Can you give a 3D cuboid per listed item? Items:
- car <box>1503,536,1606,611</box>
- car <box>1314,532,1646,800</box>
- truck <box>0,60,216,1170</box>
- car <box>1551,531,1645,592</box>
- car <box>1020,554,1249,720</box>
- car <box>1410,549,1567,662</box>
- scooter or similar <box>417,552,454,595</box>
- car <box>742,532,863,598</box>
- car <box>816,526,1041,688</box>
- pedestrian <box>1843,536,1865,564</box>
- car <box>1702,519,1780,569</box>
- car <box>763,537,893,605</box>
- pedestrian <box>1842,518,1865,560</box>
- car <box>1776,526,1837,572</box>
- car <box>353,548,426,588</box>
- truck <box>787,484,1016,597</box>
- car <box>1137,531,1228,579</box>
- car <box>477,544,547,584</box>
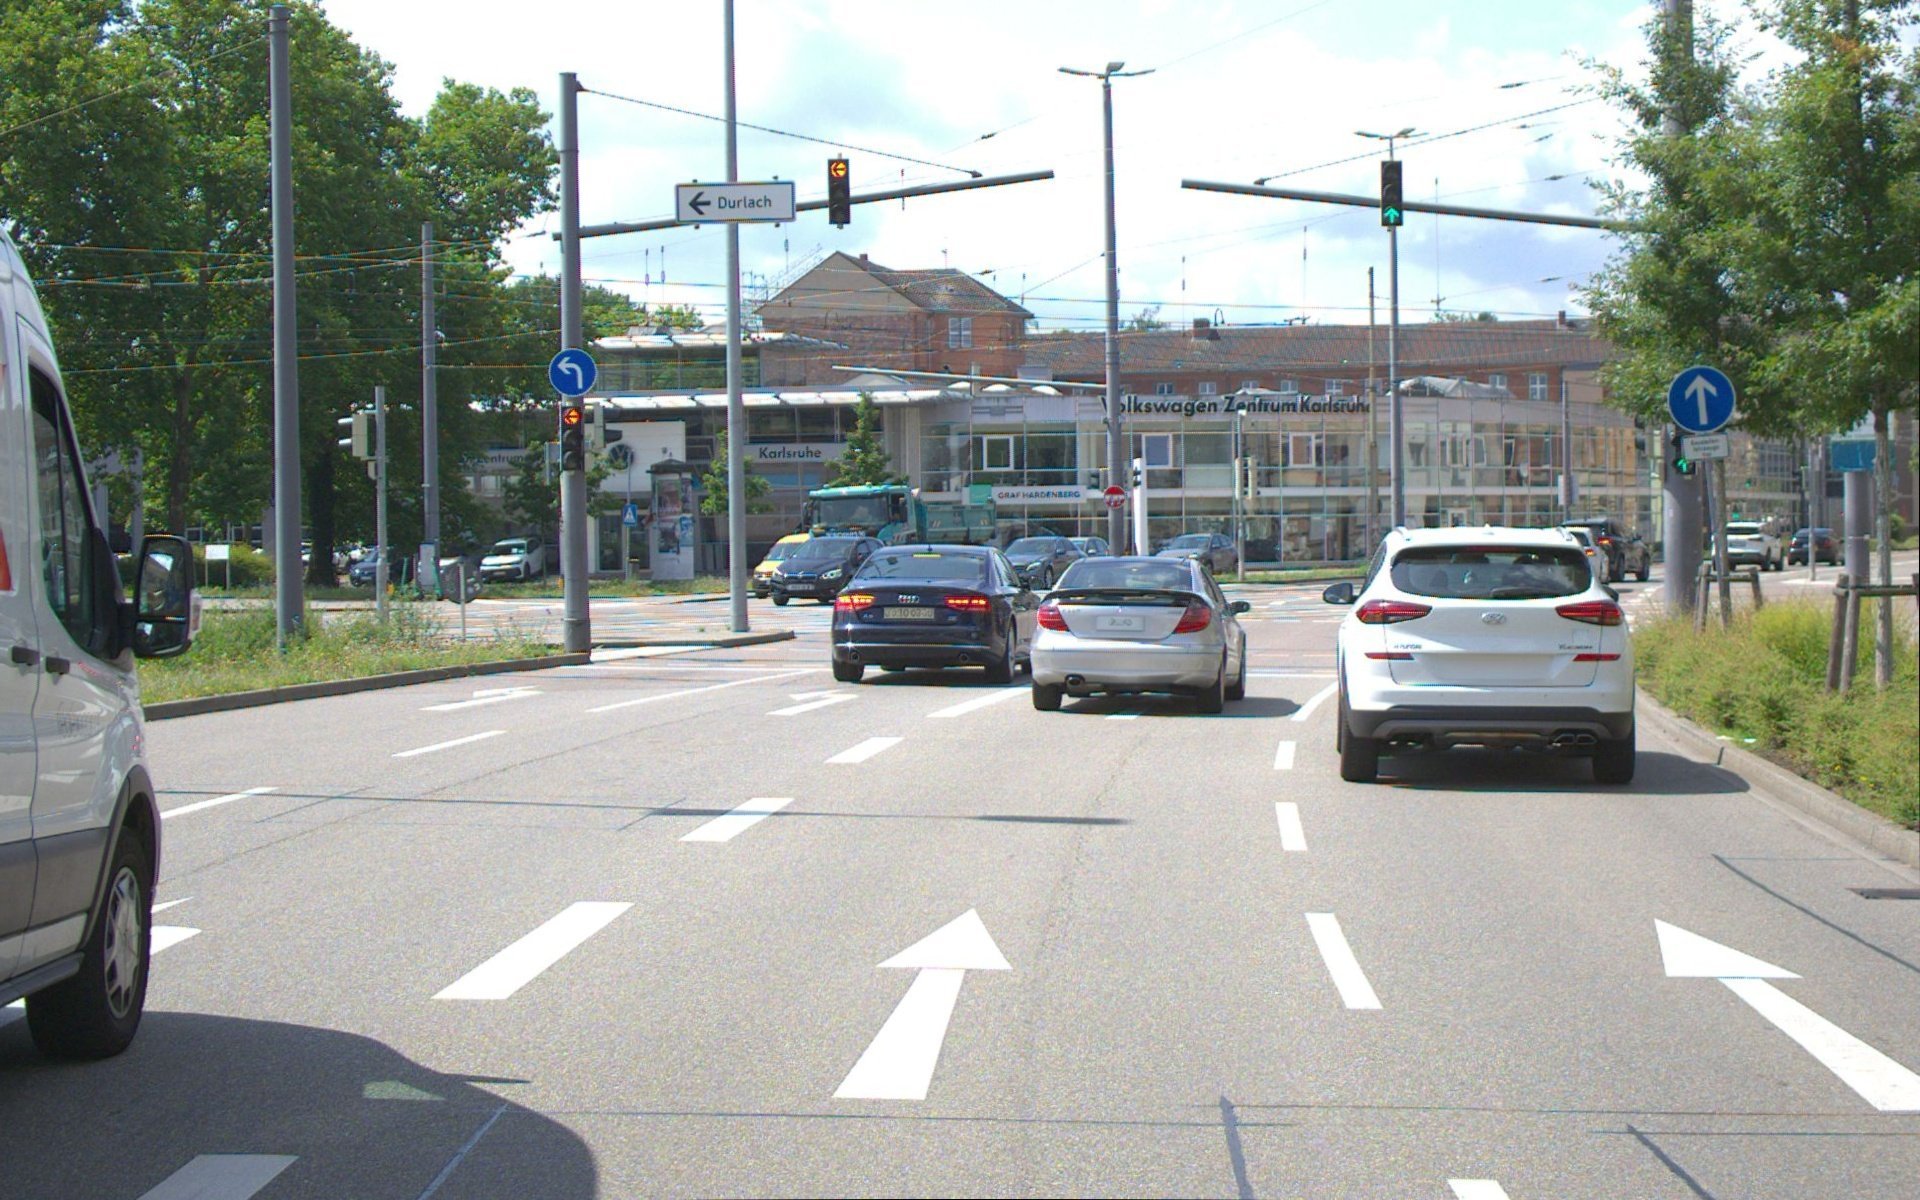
[{"bbox_3d":[13.494,-0.622,77.892,1.882,1.636,3.954,0,1,16],"label":"car"},{"bbox_3d":[3.424,0.367,23.325,1.881,1.636,4.232,0,1,4],"label":"car"},{"bbox_3d":[-3.336,0.035,7.989,2.137,2.631,5.918,0,0,-2],"label":"truck"},{"bbox_3d":[17.832,-1.091,95.978,1.883,1.636,3.953,0,1,21],"label":"car"},{"bbox_3d":[1.675,0.287,31.713,1.742,1.387,4.178,0,1,8],"label":"car"},{"bbox_3d":[7.175,0.047,46.428,1.882,1.414,3.955,0,1,12],"label":"car"},{"bbox_3d":[-13.835,-0.696,90.683,0.378,1.112,1.093,0,0,26],"label":"scooter or similar"},{"bbox_3d":[-4.456,-1.013,97.924,1.719,1.794,4.736,-1,1,20],"label":"car"},{"bbox_3d":[-0.269,0.019,37.434,1.928,1.635,4.791,0,1,6],"label":"car"},{"bbox_3d":[30.571,-1.704,117.537,0.525,0.903,1.559,0,0,22],"label":"pedestrian"},{"bbox_3d":[25.876,-1.865,113.817,1.883,1.636,3.952,0,1,23],"label":"car"},{"bbox_3d":[-2.979,-0.680,78.585,1.654,1.464,4.150,0,1,18],"label":"car"},{"bbox_3d":[30.580,-2.084,117.646,0.693,1.452,0.679,0,0,23],"label":"pedestrian"},{"bbox_3d":[31.087,-1.870,126.153,1.883,1.636,3.954,0,1,18],"label":"car"},{"bbox_3d":[-23.396,-1.300,141.161,1.994,1.568,4.177,0,0,5],"label":"car"},{"bbox_3d":[-1.436,-1.613,91.704,2.889,2.842,8.783,0,1,22],"label":"truck"},{"bbox_3d":[7.253,-1.477,111.801,1.720,1.526,4.117,0,1,22],"label":"car"},{"bbox_3d":[-18.274,-1.460,140.385,1.994,1.568,4.177,0,0,5],"label":"car"}]
